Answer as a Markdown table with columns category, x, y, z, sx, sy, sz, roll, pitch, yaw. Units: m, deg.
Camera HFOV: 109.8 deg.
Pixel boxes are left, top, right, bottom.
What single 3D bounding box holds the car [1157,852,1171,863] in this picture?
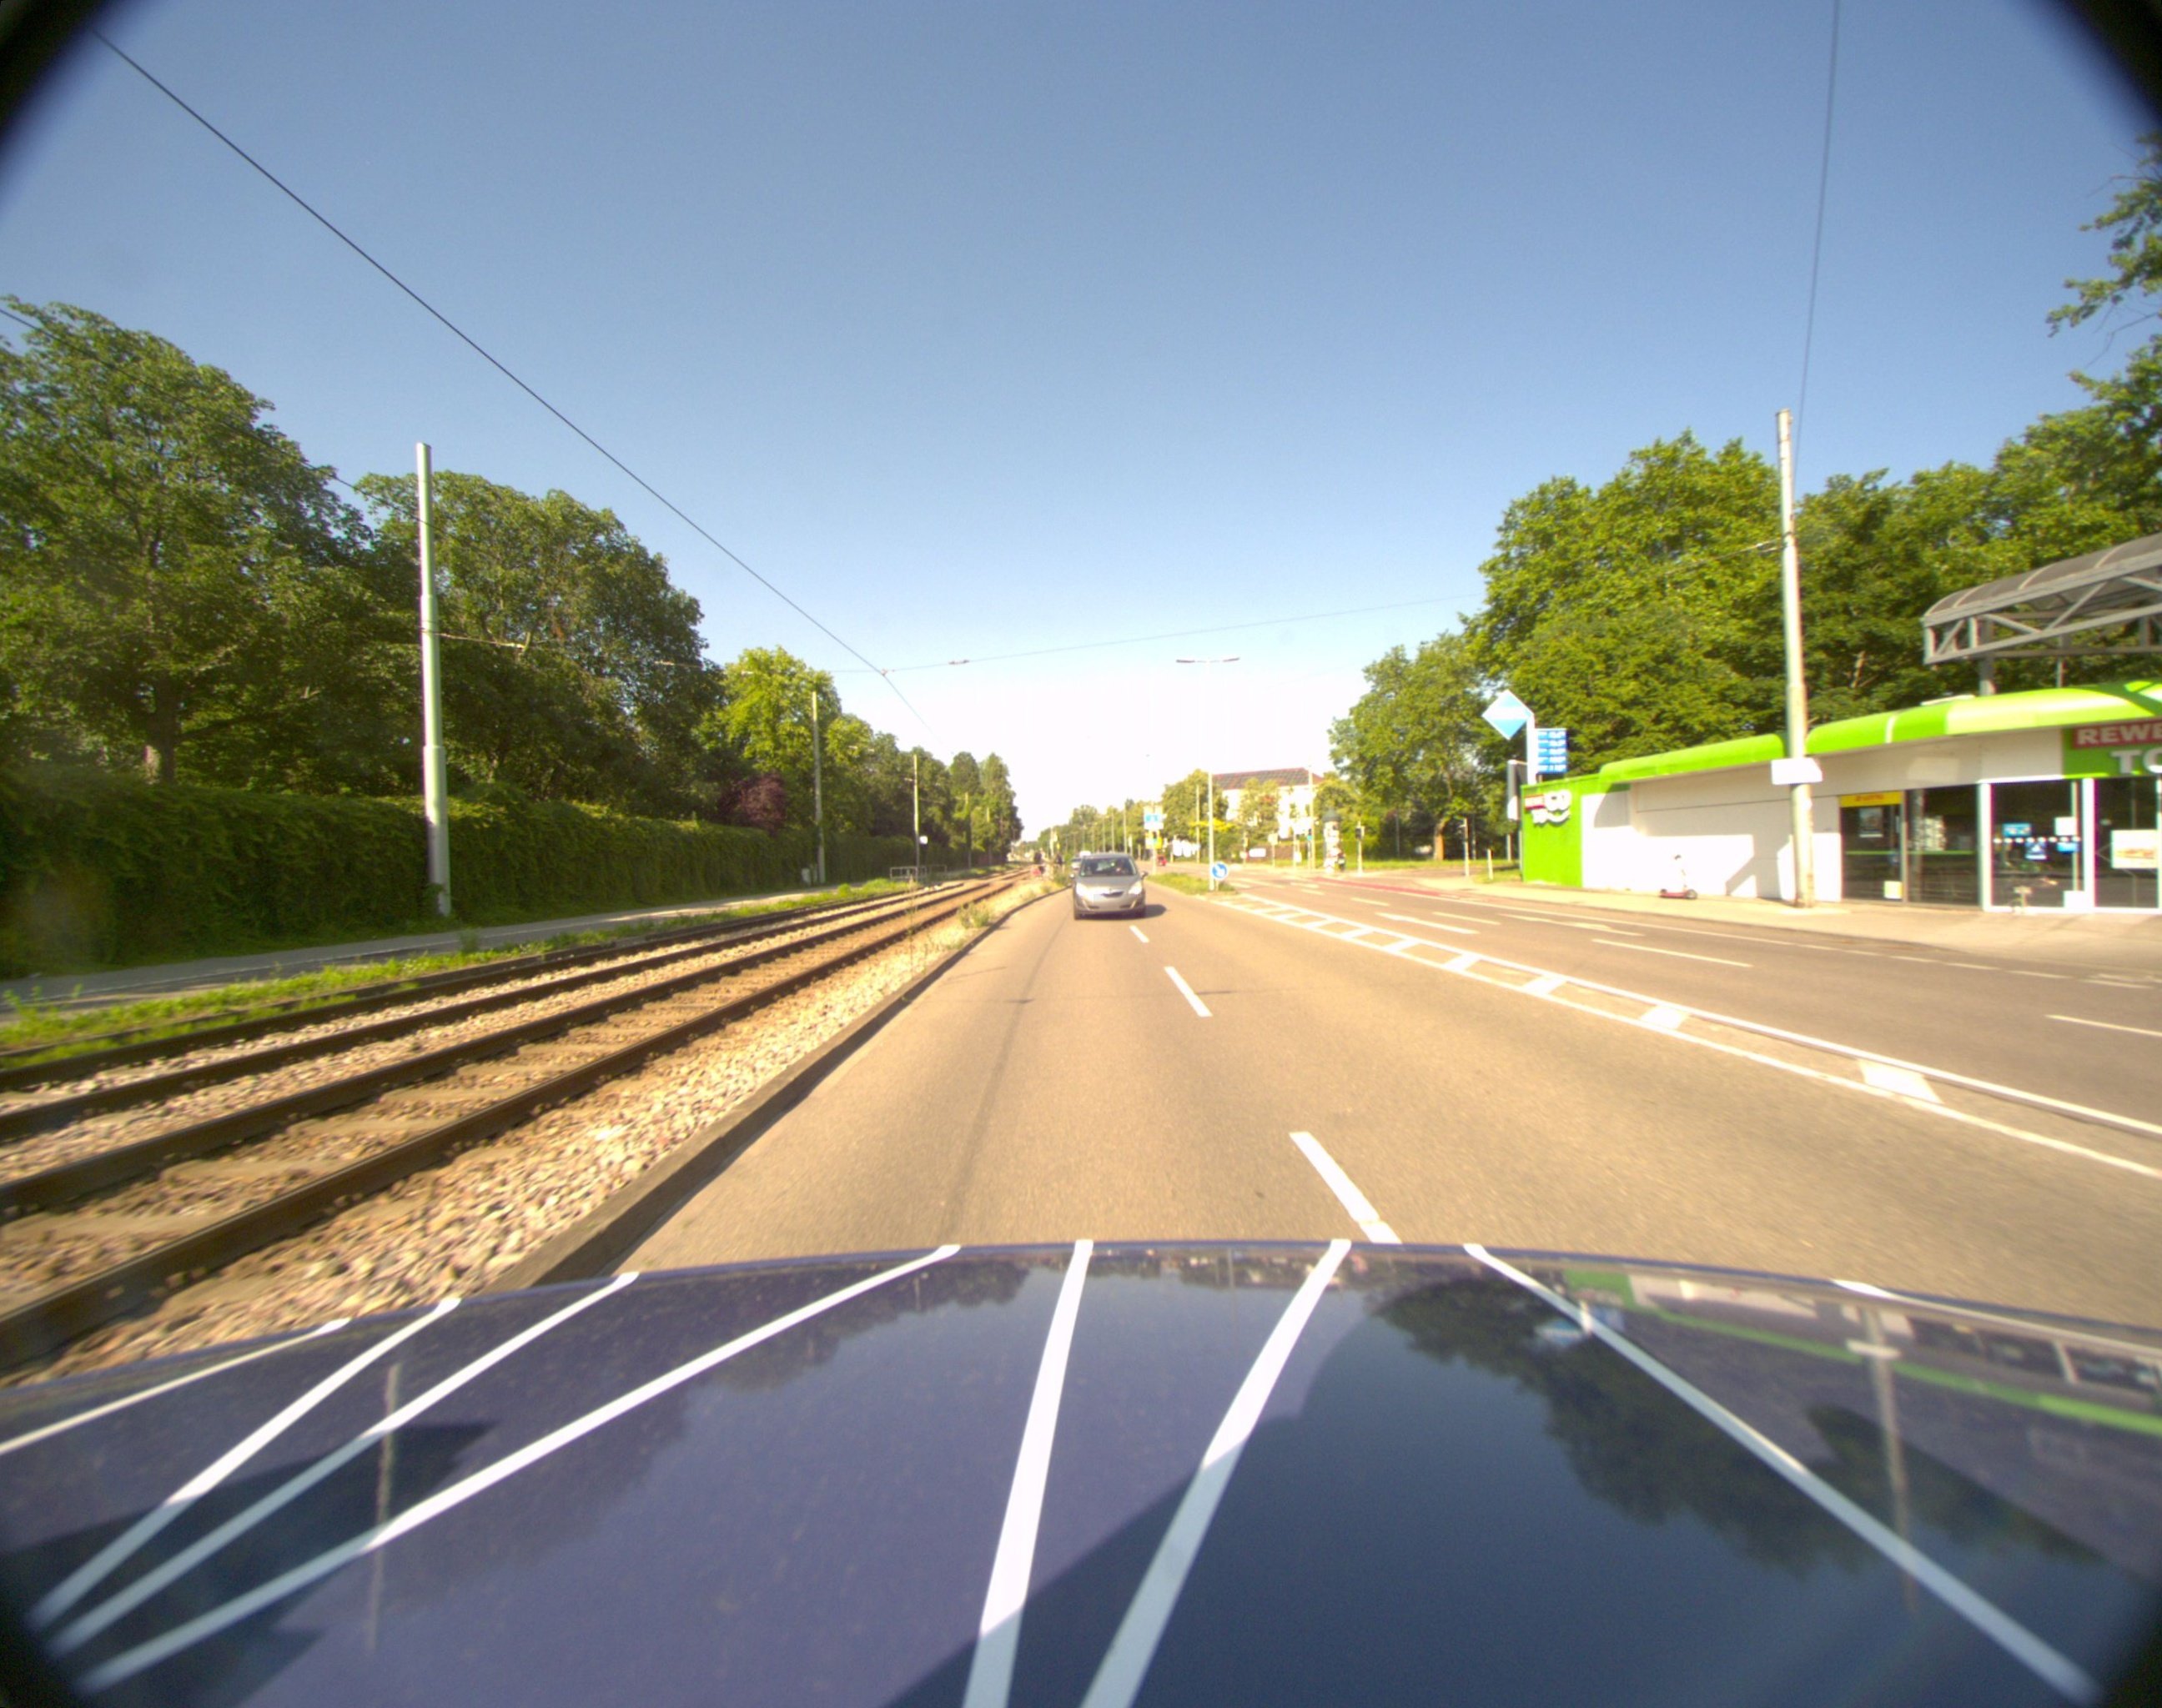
| category | x | y | z | sx | sy | sz | roll | pitch | yaw |
| --- | --- | --- | --- | --- | --- | --- | --- | --- | --- |
| car | 11.589 | 0.486 | 105.738 | 1.578 | 1.408 | 3.333 | -1 | 0 | 1 |

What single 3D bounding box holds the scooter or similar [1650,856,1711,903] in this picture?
| category | x | y | z | sx | sy | sz | roll | pitch | yaw |
| --- | --- | --- | --- | --- | --- | --- | --- | --- | --- |
| scooter or similar | 16.031 | 0.668 | 20.357 | 0.533 | 1.167 | 1.310 | -6 | 0 | 3 |

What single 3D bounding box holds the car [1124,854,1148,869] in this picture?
| category | x | y | z | sx | sy | sz | roll | pitch | yaw |
| --- | --- | --- | --- | --- | --- | --- | --- | --- | --- |
| car | 5.738 | 0.775 | 79.853 | 1.765 | 1.477 | 4.643 | -3 | 0 | -4 |

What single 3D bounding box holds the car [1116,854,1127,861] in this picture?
| category | x | y | z | sx | sy | sz | roll | pitch | yaw |
| --- | --- | --- | --- | --- | --- | --- | --- | --- | --- |
| car | 7.522 | 0.623 | 141.956 | 1.657 | 1.387 | 4.133 | -1 | 0 | -1 |

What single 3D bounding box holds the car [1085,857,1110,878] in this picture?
| category | x | y | z | sx | sy | sz | roll | pitch | yaw |
| --- | --- | --- | --- | --- | --- | --- | --- | --- | --- |
| car | 1.310 | 1.077 | 62.074 | 1.710 | 1.513 | 3.832 | -2 | 0 | -3 |

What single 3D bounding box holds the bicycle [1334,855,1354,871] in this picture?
| category | x | y | z | sx | sy | sz | roll | pitch | yaw |
| --- | --- | --- | --- | --- | --- | --- | --- | --- | --- |
| bicycle | 18.506 | 0.634 | 53.483 | 0.663 | 1.043 | 2.581 | -1 | 0 | 3 |

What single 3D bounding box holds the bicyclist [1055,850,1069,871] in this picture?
| category | x | y | z | sx | sy | sz | roll | pitch | yaw |
| --- | --- | --- | --- | --- | --- | --- | --- | --- | --- |
| bicyclist | -1.302 | 0.420 | 51.567 | 0.644 | 1.408 | 1.014 | 2 | 1 | 16 |

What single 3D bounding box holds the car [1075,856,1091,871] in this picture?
| category | x | y | z | sx | sy | sz | roll | pitch | yaw |
| --- | --- | --- | --- | --- | --- | --- | --- | --- | --- |
| car | 0.203 | 1.066 | 86.618 | 1.710 | 1.513 | 3.833 | -2 | 0 | 0 |

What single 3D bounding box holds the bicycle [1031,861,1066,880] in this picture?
| category | x | y | z | sx | sy | sz | roll | pitch | yaw |
| --- | --- | --- | --- | --- | --- | --- | --- | --- | --- |
| bicycle | -1.980 | 1.003 | 46.824 | 1.922 | 1.108 | 0.949 | -1 | 0 | 24 |

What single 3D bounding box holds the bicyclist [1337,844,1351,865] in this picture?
| category | x | y | z | sx | sy | sz | roll | pitch | yaw |
| --- | --- | --- | --- | --- | --- | --- | --- | --- | --- |
| bicyclist | 18.501 | 0.039 | 53.488 | 0.663 | 1.444 | 1.051 | -1 | 1 | 3 |

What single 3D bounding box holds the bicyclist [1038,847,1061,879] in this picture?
| category | x | y | z | sx | sy | sz | roll | pitch | yaw |
| --- | --- | --- | --- | --- | --- | --- | --- | --- | --- |
| bicyclist | -1.951 | 0.557 | 46.808 | 1.034 | 1.982 | 0.949 | -1 | 1 | 24 |

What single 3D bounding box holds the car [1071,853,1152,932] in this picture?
| category | x | y | z | sx | sy | sz | roll | pitch | yaw |
| --- | --- | --- | --- | --- | --- | --- | --- | --- | --- |
| car | 0.640 | 0.812 | 17.905 | 1.650 | 1.581 | 3.833 | -2 | 0 | 0 |

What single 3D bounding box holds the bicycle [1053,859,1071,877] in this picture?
| category | x | y | z | sx | sy | sz | roll | pitch | yaw |
| --- | --- | --- | --- | --- | --- | --- | --- | --- | --- |
| bicycle | -1.290 | 0.924 | 51.666 | 0.644 | 1.147 | 1.939 | 2 | 1 | 16 |
